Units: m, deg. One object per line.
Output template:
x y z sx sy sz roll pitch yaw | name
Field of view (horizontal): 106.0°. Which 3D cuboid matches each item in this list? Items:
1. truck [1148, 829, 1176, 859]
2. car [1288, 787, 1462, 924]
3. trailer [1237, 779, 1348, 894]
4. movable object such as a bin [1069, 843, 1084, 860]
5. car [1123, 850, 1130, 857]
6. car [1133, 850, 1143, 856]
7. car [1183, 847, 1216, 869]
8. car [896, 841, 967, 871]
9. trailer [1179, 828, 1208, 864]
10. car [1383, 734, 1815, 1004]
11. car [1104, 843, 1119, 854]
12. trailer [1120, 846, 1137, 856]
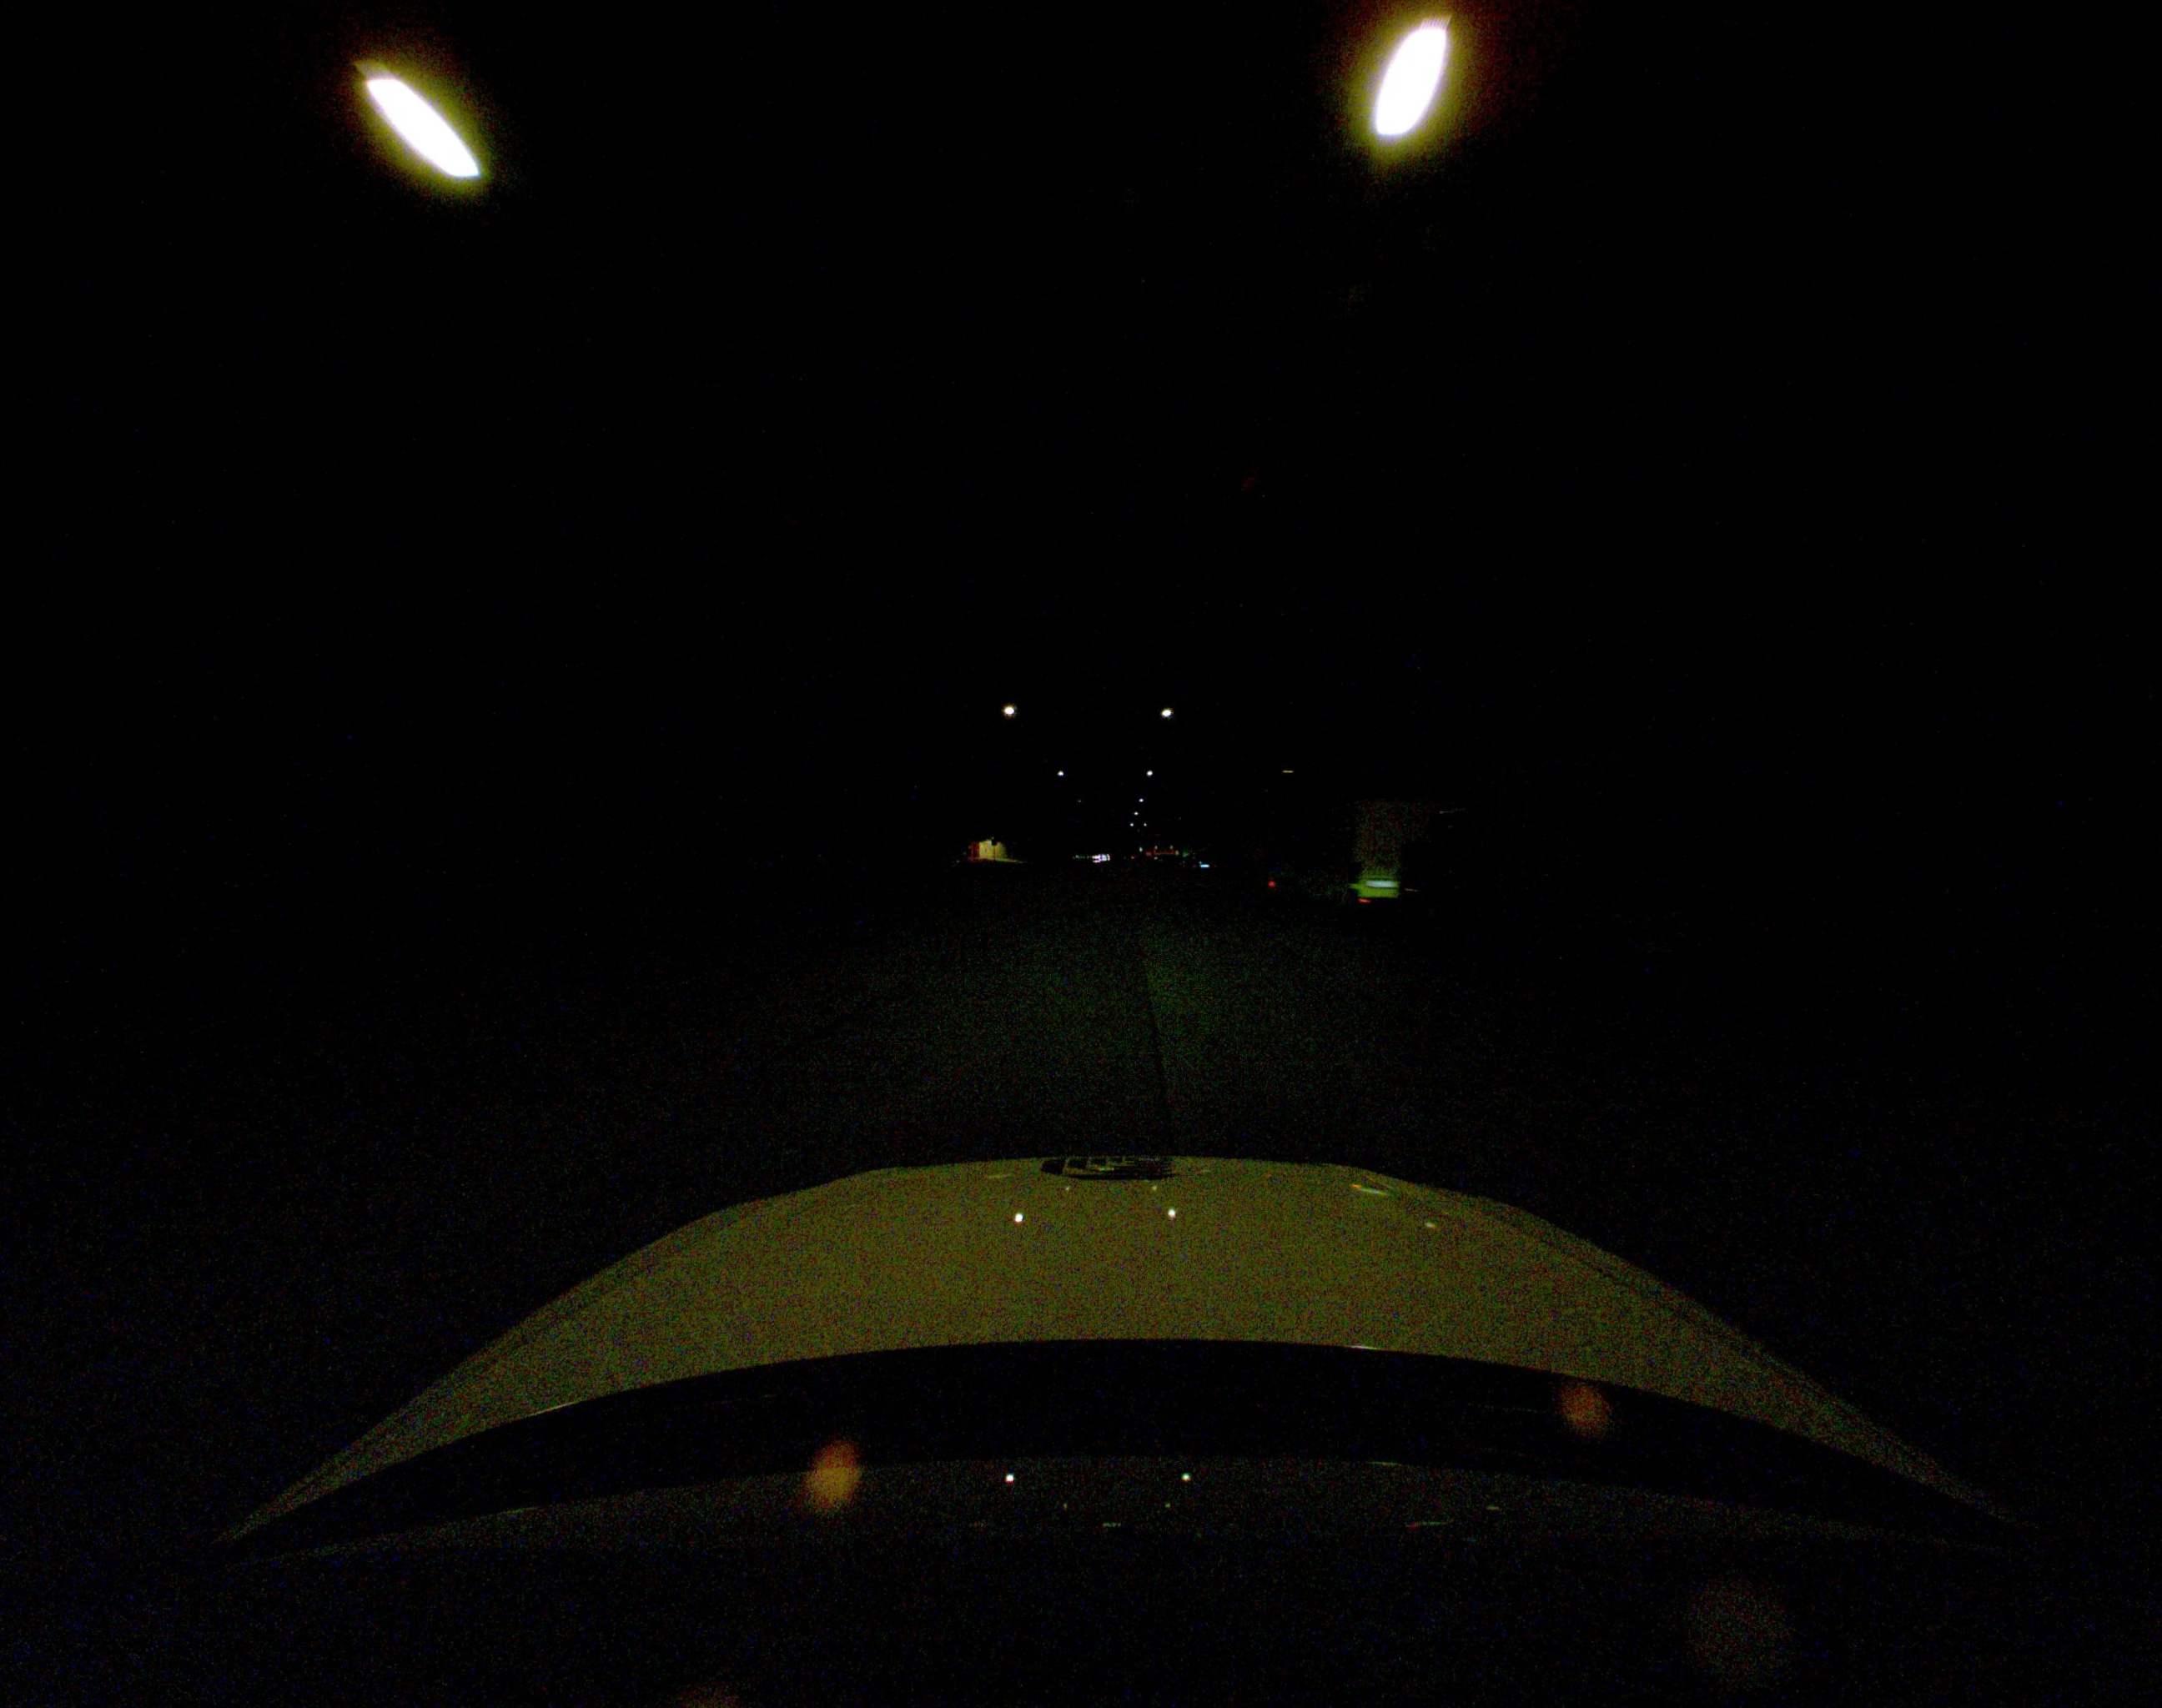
10.788 -1.328 109.507 3.310 3.868 9.335 -1 0 3 | truck
6.365 -0.010 18.621 1.932 2.548 6.652 -1 1 3 | car
6.564 -0.538 25.858 2.390 3.325 4.362 -1 1 0 | trailer
-0.696 -0.355 126.810 1.552 2.467 2.822 -3 0 -18 | movable object such as a bin
11.382 -0.110 202.142 1.713 1.661 4.004 -1 -1 4 | car
16.125 -0.250 230.606 1.707 1.821 4.019 -1 -1 18 | car
7.983 0.261 55.186 1.720 1.386 4.678 -1 1 1 | car
-10.196 0.122 55.929 4.414 1.972 2.001 -1 1 2 | car
8.423 -0.611 61.047 1.983 2.651 4.007 -1 1 6 | trailer
6.046 0.100 10.766 1.986 2.548 6.027 -1 1 1 | car
8.971 -1.704 239.112 2.499 3.171 7.169 -3 0 17 | car
10.840 -0.667 187.275 1.567 2.160 5.179 -3 -1 -24 | trailer
